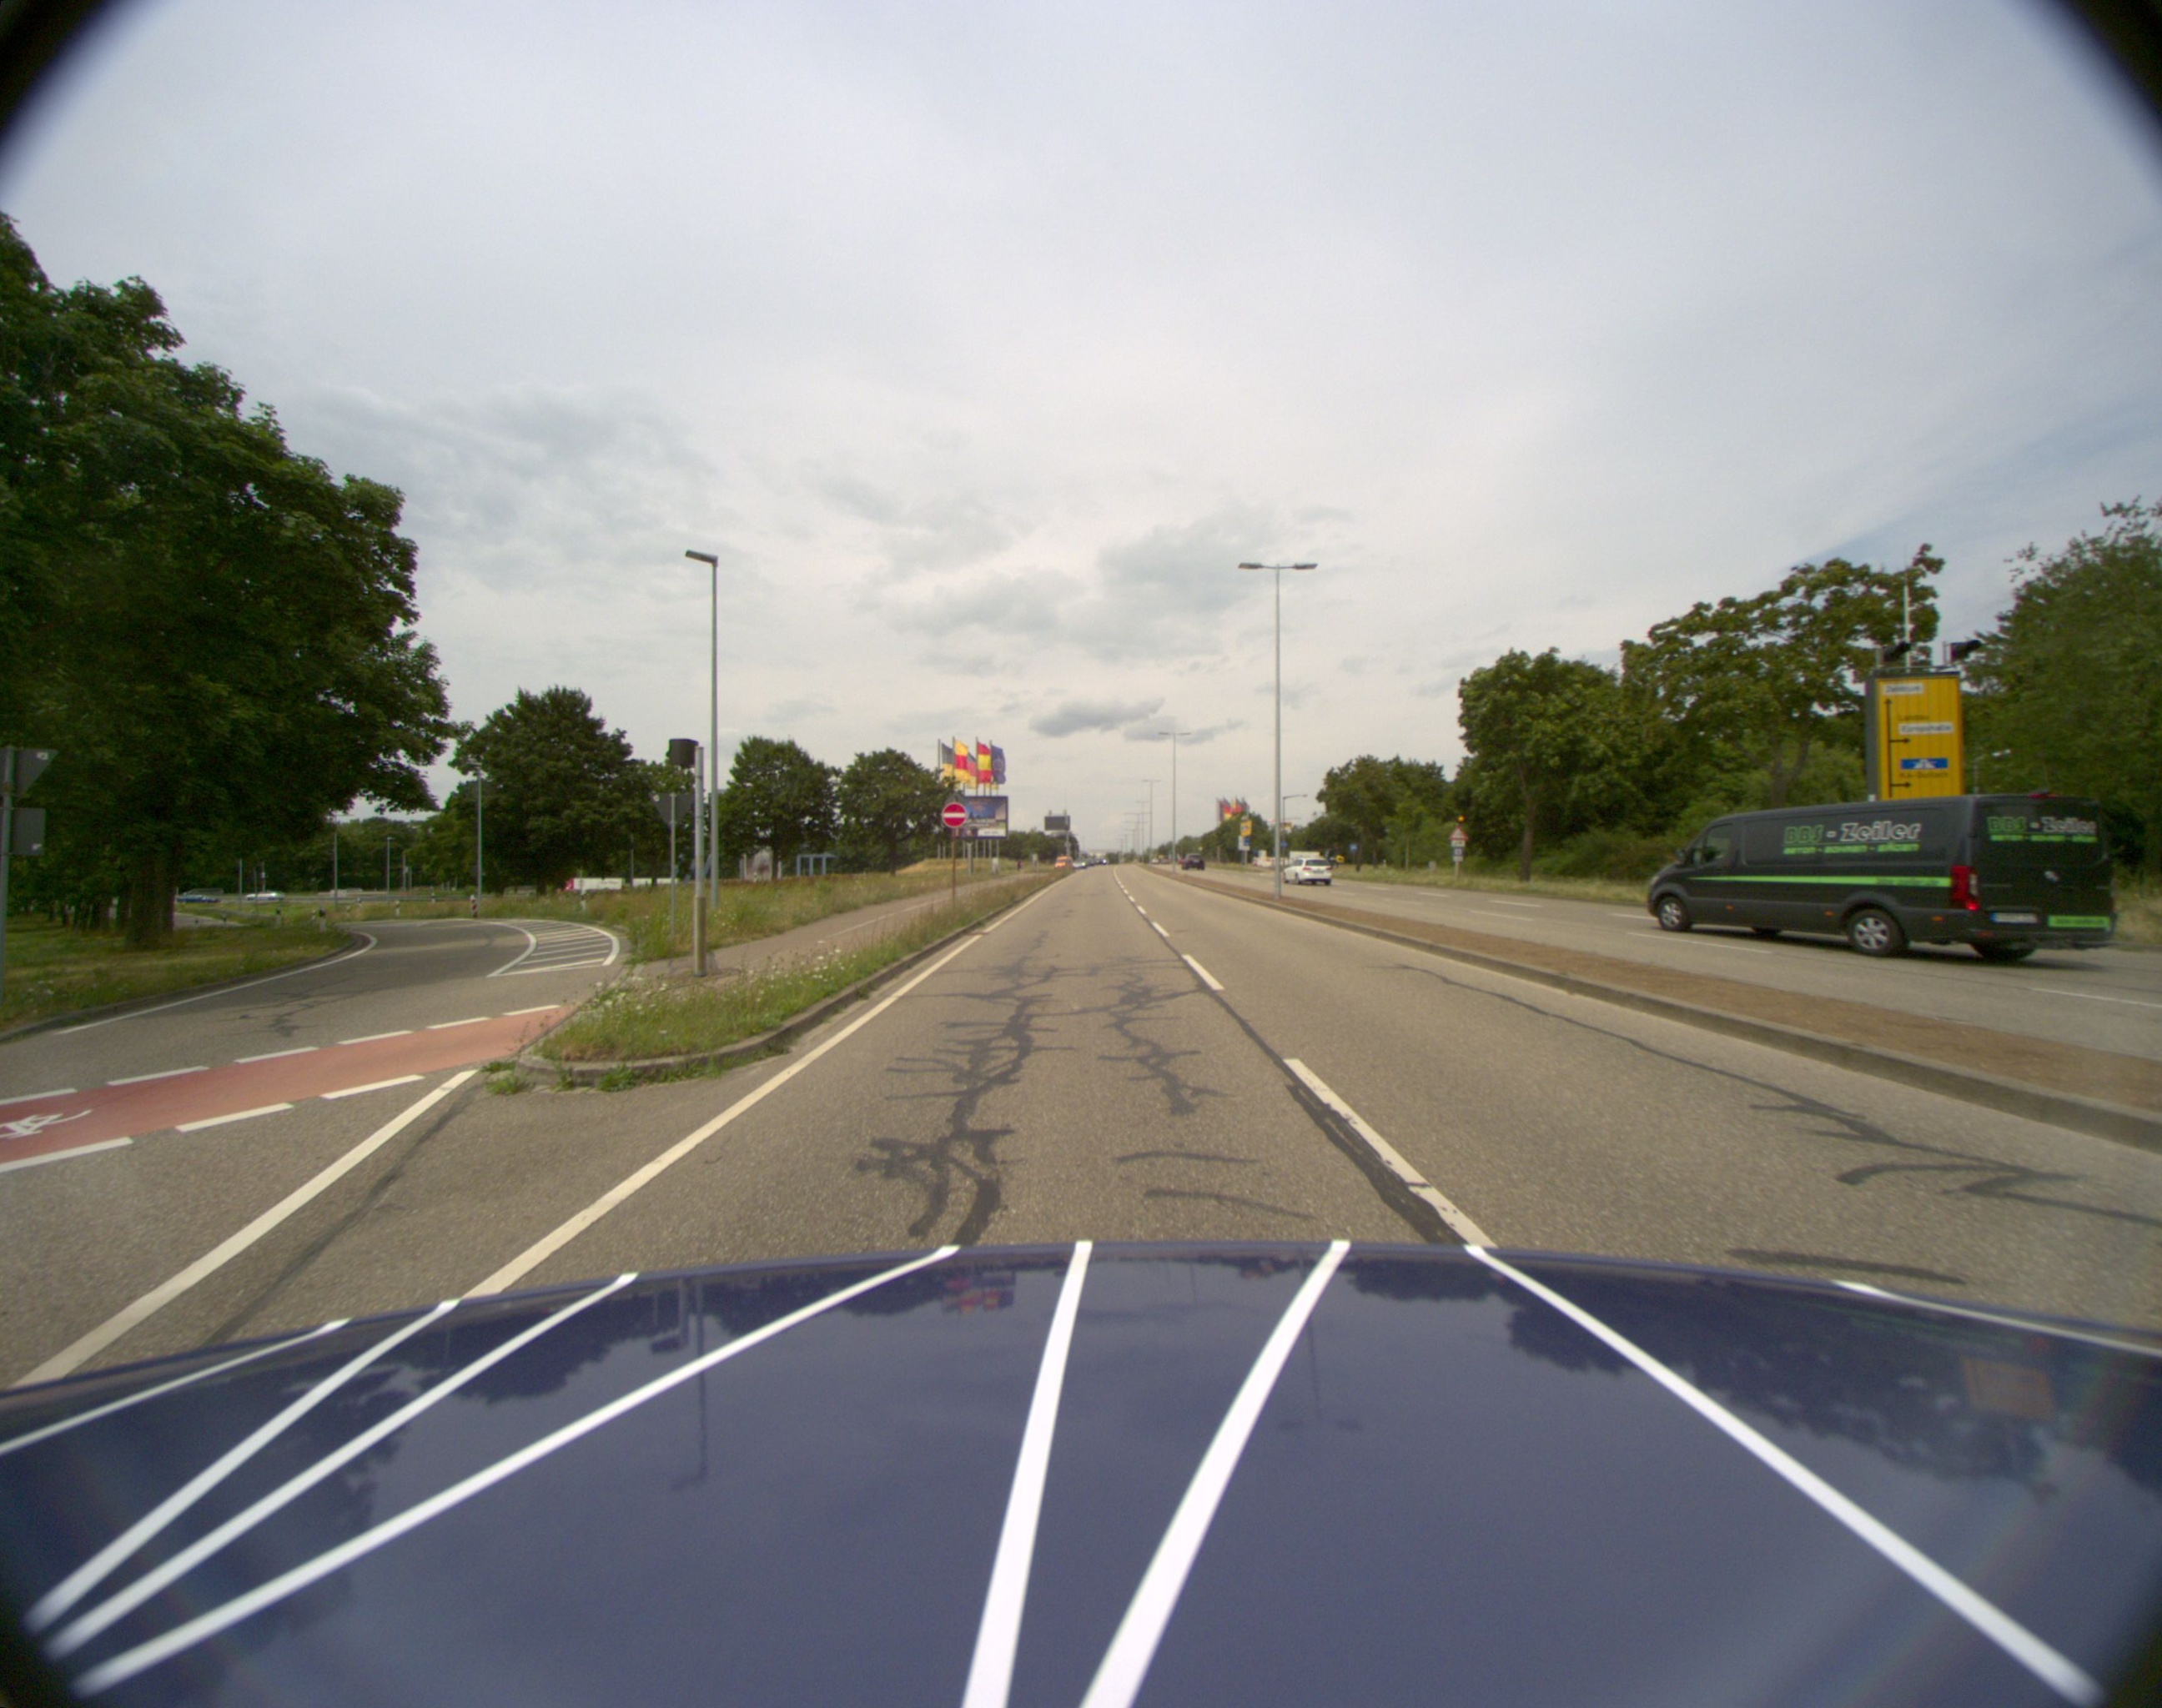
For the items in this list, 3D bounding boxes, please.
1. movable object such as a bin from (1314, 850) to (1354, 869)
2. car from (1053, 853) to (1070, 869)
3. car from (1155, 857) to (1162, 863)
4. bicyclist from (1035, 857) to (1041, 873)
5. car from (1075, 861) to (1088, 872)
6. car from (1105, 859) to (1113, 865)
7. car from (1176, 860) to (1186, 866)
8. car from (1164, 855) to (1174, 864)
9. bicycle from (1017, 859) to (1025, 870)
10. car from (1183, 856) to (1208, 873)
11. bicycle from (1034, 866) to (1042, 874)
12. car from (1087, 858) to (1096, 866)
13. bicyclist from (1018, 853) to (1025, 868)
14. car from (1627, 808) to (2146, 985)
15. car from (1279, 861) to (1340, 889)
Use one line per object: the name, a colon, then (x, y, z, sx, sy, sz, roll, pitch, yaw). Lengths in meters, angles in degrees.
movable object such as a bin: (33.611, 0.719, 100.904, 4.593, 2.382, 1.999, -1, -1, -8)
car: (-2.391, 0.919, 94.235, 1.892, 1.824, 4.432, -2, -1, 1)
car: (22.368, 1.856, 219.721, 1.698, 1.619, 4.386, -1, -2, 3)
bicyclist: (-4.544, 1.175, 80.306, 0.623, 1.656, 0.669, 2, -1, 0)
car: (0.048, 1.670, 103.270, 1.695, 1.403, 3.684, -2, -1, -1)
car: (5.853, 1.642, 157.165, 1.558, 1.229, 3.471, -2, -2, 1)
car: (21.869, 1.942, 166.633, 1.758, 1.314, 4.348, -1, -2, 4)
car: (20.041, 1.292, 173.184, 1.907, 1.798, 4.541, -1, -1, 1)
bicycle: (-6.953, 1.218, 88.680, 0.695, 1.185, 2.461, 0, -1, 1)
car: (12.273, 1.127, 81.902, 1.998, 1.800, 4.799, 0, -1, 0)
bicycle: (-4.526, 1.674, 80.208, 0.625, 0.883, 2.154, -1, 0, 1)
car: (1.890, 1.361, 132.346, 1.558, 1.229, 3.471, -2, -2, 1)
bicyclist: (-6.950, 0.785, 88.695, 0.705, 1.744, 0.991, -1, -1, 1)
car: (12.163, 0.581, 12.434, 2.101, 2.187, 6.004, 0, -1, -1)
car: (12.275, 1.109, 41.095, 1.998, 1.422, 4.689, 0, -1, 2)
